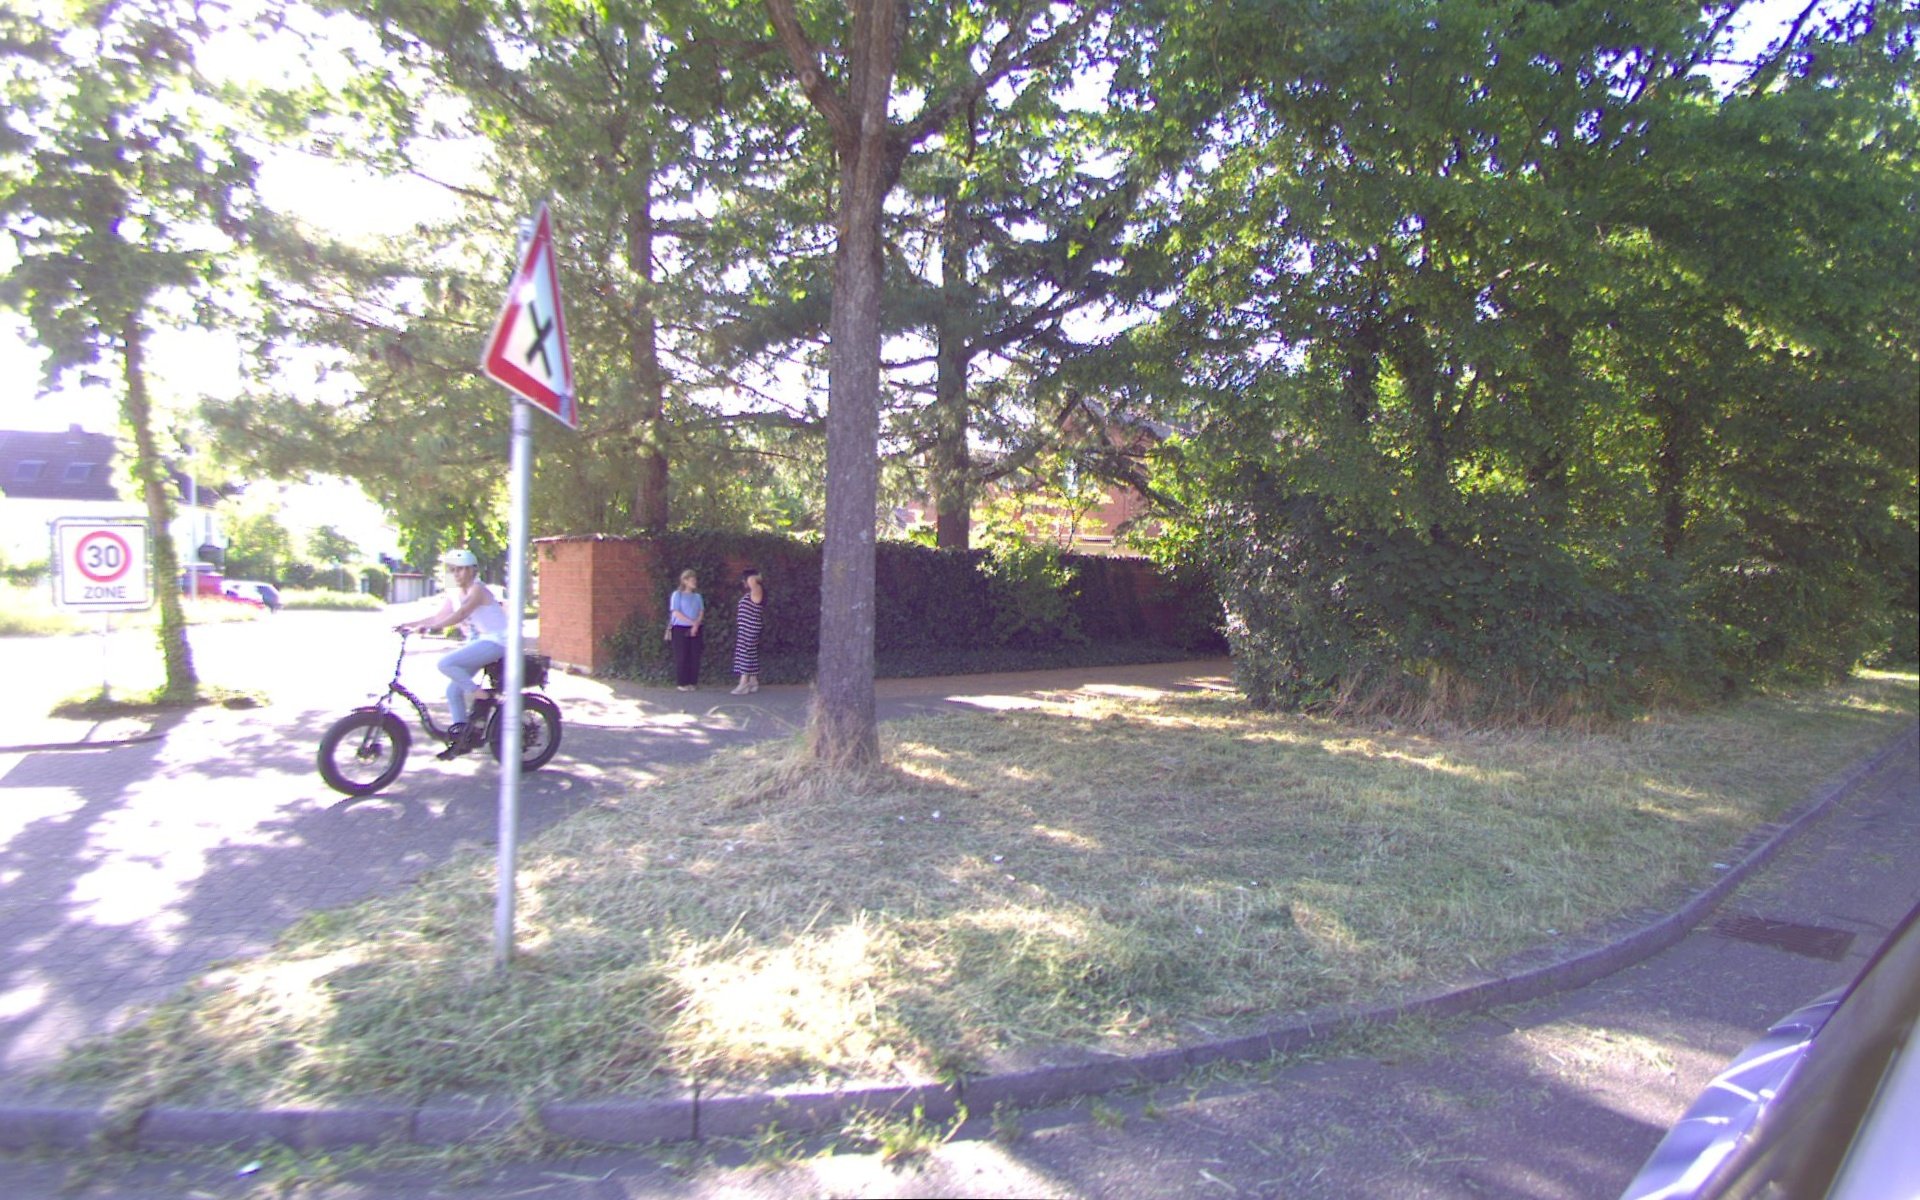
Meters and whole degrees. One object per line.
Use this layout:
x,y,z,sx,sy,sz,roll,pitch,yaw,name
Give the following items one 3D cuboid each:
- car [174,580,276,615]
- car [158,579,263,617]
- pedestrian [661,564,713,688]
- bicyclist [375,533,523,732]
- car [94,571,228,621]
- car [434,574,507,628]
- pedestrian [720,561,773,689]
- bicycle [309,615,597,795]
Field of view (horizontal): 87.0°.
-31.425,-0.116,43.294,3.472,1.434,1.679,-1,1,-39,car
-30.201,-0.100,40.810,3.334,1.459,1.614,-1,1,-39,car
-3.489,0.318,12.938,0.529,1.539,0.395,0,1,-41,pedestrian
-3.760,0.211,7.459,0.825,1.364,0.637,0,1,-45,bicyclist
-29.675,-0.187,37.655,1.739,1.738,3.602,1,1,37,car
-16.247,-0.018,33.755,1.958,1.679,4.008,0,1,-22,car
-2.711,0.306,12.881,0.392,1.580,0.533,2,1,28,pedestrian
-3.712,0.712,7.553,0.457,1.159,1.867,1,1,44,bicycle
